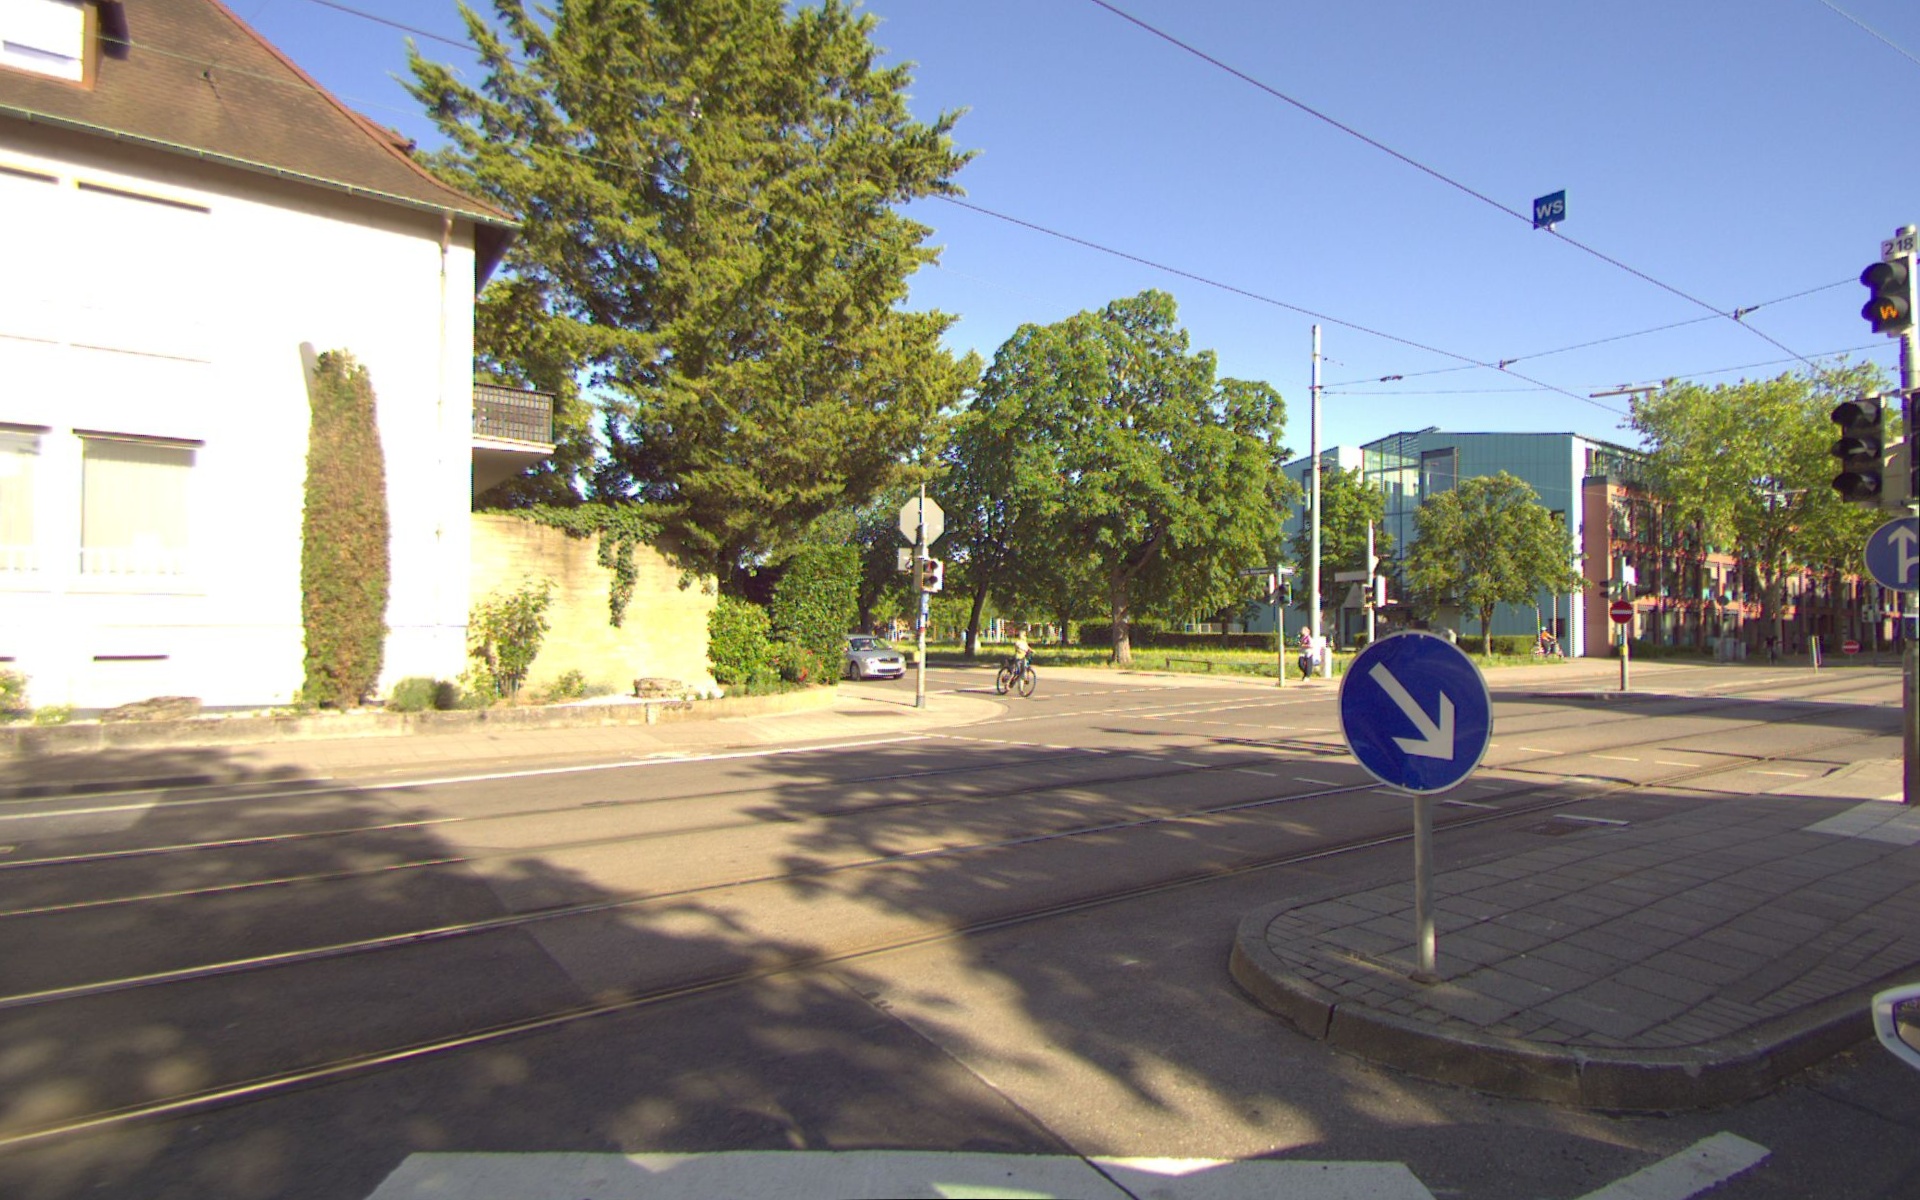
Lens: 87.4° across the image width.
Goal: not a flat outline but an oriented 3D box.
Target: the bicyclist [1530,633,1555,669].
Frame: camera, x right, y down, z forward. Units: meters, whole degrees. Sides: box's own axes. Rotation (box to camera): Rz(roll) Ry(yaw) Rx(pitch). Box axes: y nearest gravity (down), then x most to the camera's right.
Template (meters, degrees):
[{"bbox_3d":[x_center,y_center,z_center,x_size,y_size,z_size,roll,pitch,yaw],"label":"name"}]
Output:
[{"bbox_3d":[31.181,2.726,53.806,1.082,1.909,0.450,-1,-2,21],"label":"bicyclist"}]

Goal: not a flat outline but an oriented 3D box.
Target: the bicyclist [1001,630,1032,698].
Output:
[{"bbox_3d":[1.439,1.637,25.790,0.531,1.707,0.677,1,-2,-28],"label":"bicyclist"}]

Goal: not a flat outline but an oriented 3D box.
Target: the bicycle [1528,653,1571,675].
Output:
[{"bbox_3d":[31.503,3.410,53.674,1.880,1.120,0.563,-1,-2,20],"label":"bicycle"}]

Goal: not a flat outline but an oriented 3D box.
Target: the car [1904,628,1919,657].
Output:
[{"bbox_3d":[63.995,2.796,66.287,4.262,1.839,1.955,2,-3,-40],"label":"car"}]

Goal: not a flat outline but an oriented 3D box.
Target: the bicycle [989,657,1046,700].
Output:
[{"bbox_3d":[1.455,1.986,25.748,0.531,1.028,1.938,1,-2,-28],"label":"bicycle"}]

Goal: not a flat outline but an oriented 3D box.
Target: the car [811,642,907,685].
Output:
[{"bbox_3d":[-3.390,2.091,33.396,1.438,1.305,3.230,-2,-1,-45],"label":"car"}]

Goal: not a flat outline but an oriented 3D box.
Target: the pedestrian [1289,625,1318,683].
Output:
[{"bbox_3d":[10.452,1.628,30.528,0.601,1.712,0.731,2,1,36],"label":"pedestrian"}]
